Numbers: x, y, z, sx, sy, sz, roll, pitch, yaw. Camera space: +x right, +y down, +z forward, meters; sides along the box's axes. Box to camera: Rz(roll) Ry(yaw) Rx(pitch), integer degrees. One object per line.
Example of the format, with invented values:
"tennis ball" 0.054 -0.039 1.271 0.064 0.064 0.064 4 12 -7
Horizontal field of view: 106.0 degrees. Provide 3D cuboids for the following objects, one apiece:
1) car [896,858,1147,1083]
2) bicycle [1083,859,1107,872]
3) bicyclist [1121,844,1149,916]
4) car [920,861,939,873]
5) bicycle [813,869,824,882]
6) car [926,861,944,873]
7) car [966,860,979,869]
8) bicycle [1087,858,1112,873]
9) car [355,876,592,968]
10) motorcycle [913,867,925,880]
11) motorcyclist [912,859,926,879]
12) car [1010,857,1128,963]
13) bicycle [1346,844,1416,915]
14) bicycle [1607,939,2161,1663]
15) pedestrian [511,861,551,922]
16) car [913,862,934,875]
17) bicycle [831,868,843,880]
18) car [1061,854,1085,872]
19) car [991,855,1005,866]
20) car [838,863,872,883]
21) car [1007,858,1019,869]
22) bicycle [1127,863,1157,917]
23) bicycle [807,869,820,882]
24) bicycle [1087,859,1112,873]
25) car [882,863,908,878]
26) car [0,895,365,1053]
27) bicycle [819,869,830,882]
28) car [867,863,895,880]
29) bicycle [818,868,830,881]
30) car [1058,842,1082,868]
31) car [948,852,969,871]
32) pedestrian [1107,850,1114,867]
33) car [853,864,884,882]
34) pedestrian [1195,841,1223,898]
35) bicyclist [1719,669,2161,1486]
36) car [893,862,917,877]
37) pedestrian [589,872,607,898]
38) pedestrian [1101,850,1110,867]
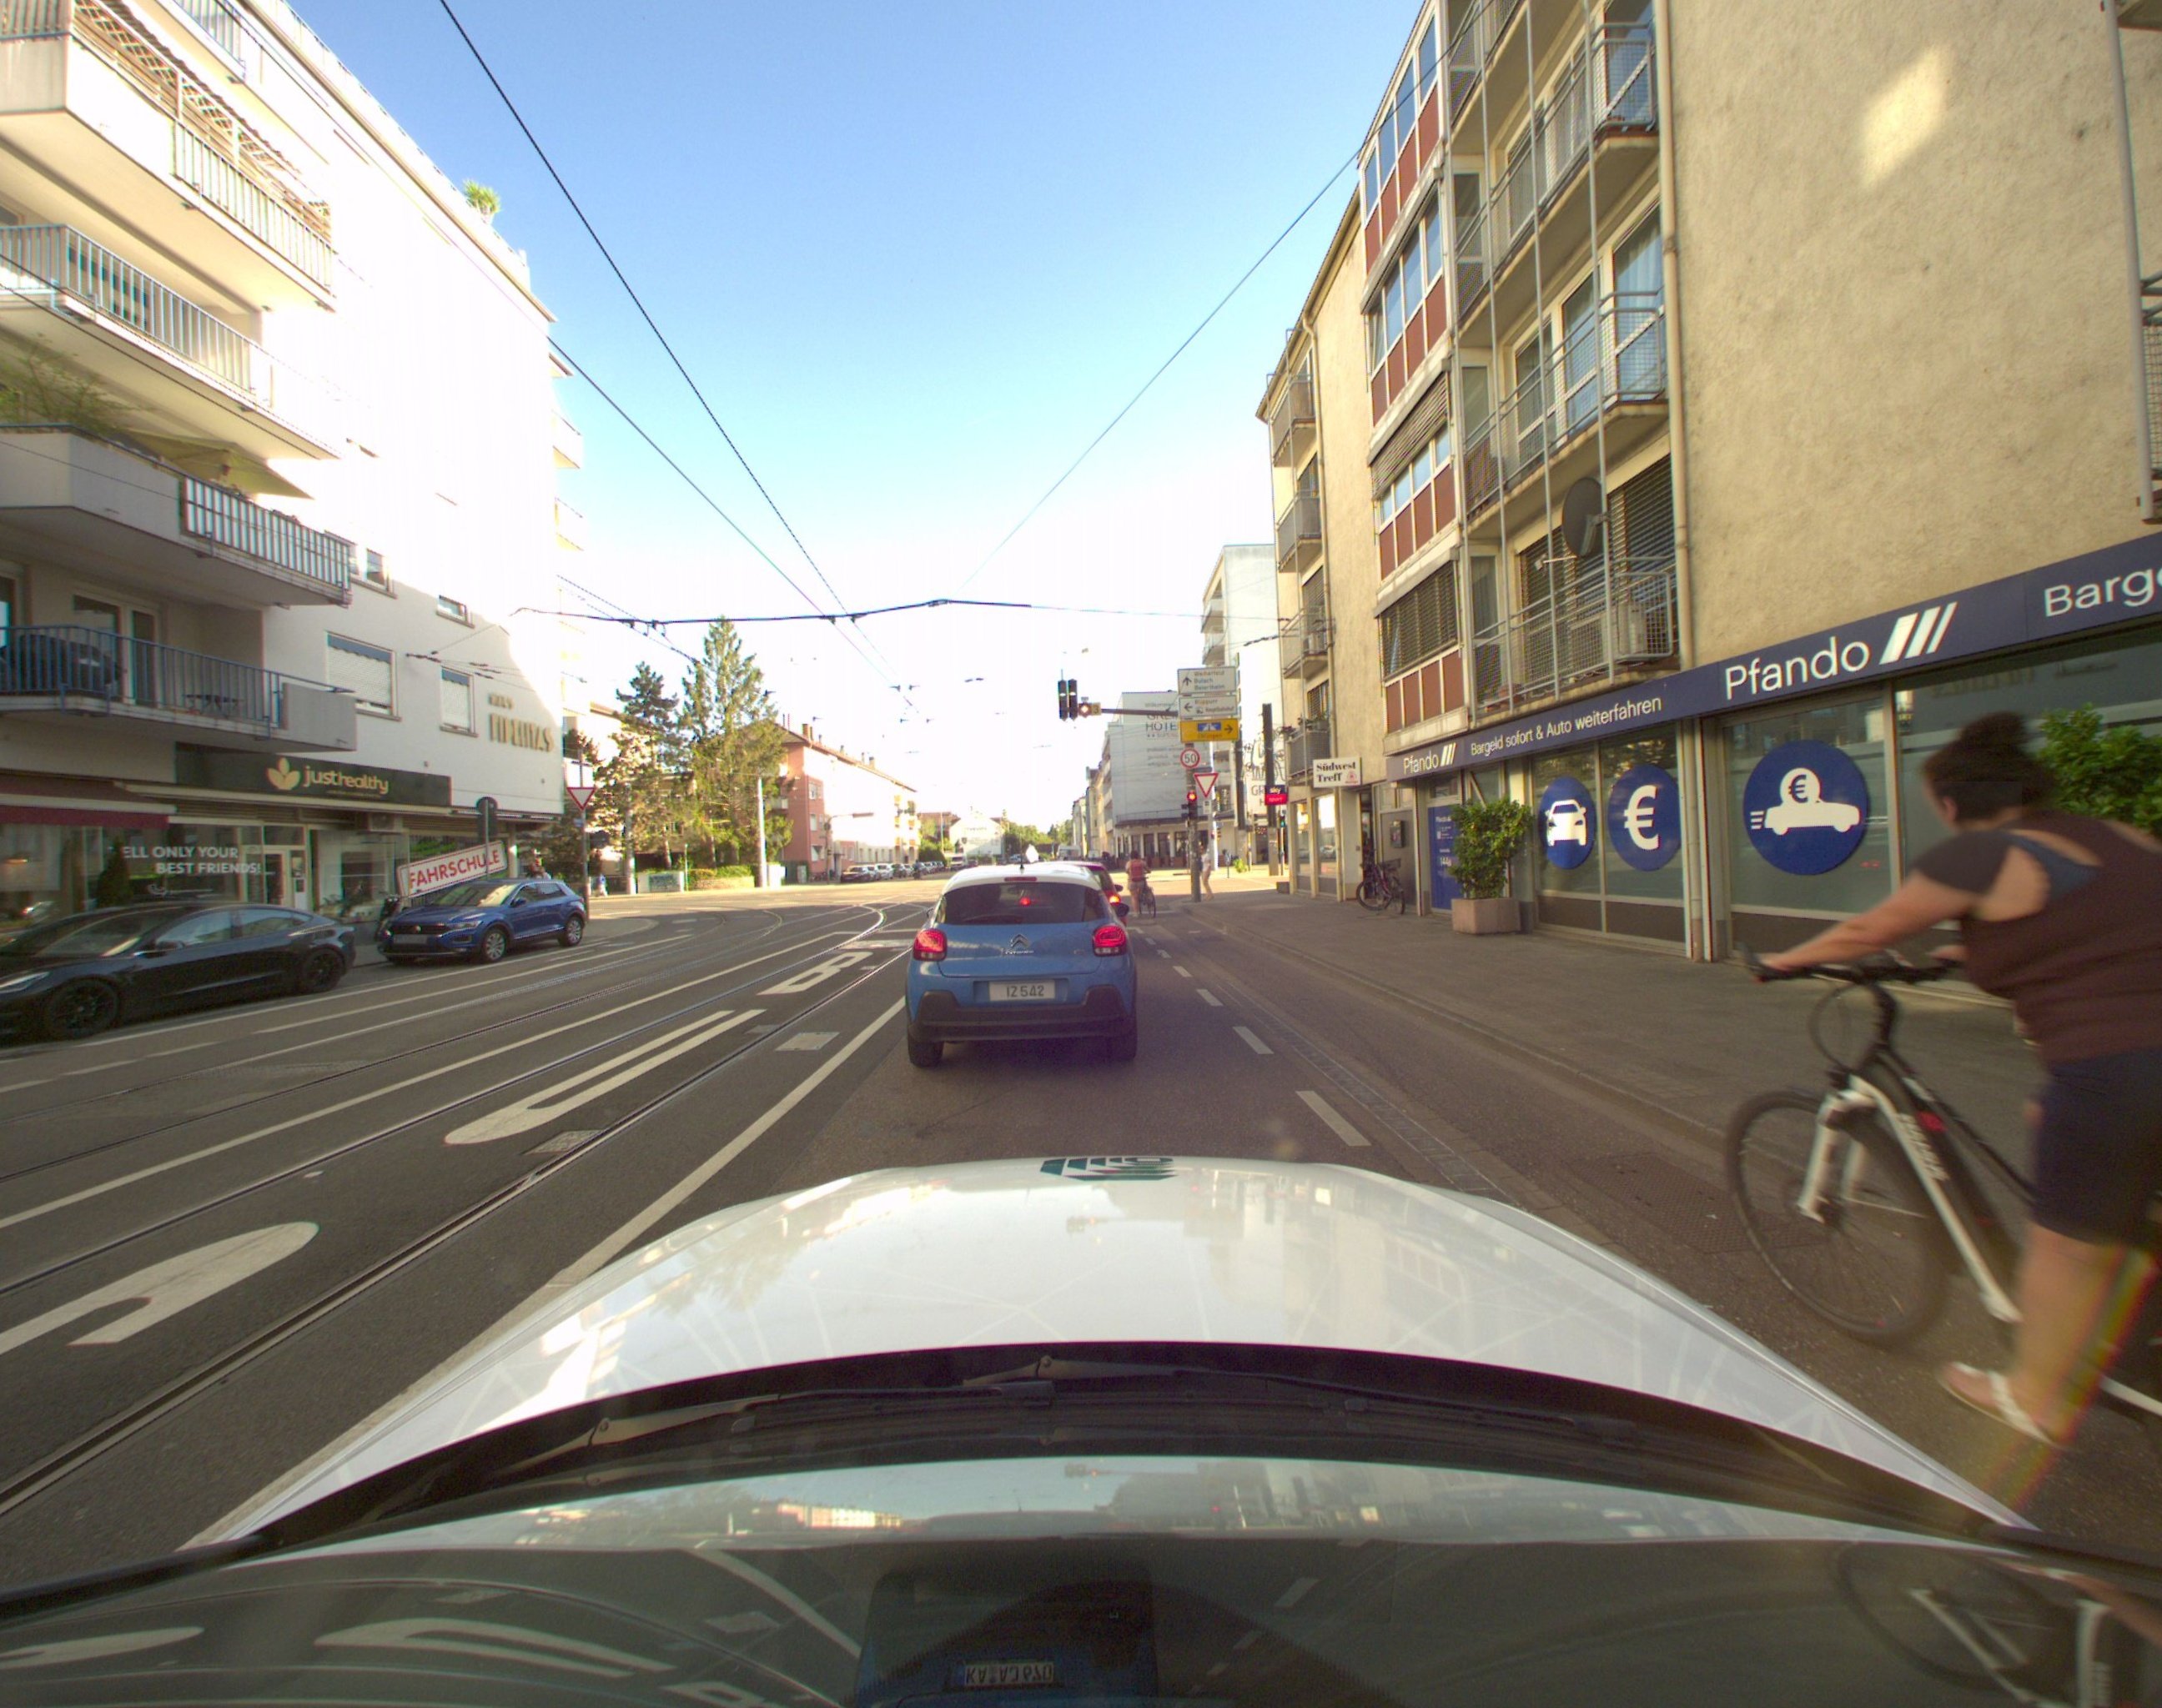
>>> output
"car" -0.448 0.795 7.510 1.675 1.462 3.997 -1 0 -2
"bicycle" 1.161 0.954 68.455 1.901 1.064 0.641 -2 0 -6
"bicyclist" 1.372 0.637 20.704 0.598 1.746 1.084 -2 0 2
"car" -20.299 1.769 109.337 1.947 1.519 3.995 -2 0 -4
"bicycle" -21.973 1.792 68.197 0.537 1.082 1.905 -2 0 -9
"car" -20.727 1.847 115.693 1.947 1.519 3.995 -2 0 -4
"car" -19.341 1.810 145.254 1.947 1.519 3.995 -2 0 -4
"bicycle" 1.517 0.931 65.946 1.901 1.064 0.641 -2 0 -6
"car" -11.875 1.247 16.336 1.720 1.505 4.113 0 0 -2
"motorcycle" -13.483 1.596 67.771 0.751 0.976 2.092 -2 0 -7
"motorcyclist" -13.473 1.269 67.704 0.990 1.631 0.737 -2 0 -7
"car" -0.223 0.814 13.719 1.675 1.462 3.997 -1 0 -2
"bicycle" 5.762 0.461 15.750 0.637 1.264 1.911 -2 0 2
"bicycle" 2.229 0.878 2.029 0.614 1.103 1.887 -2 0 1
"pedestrian" -17.277 1.171 25.585 0.761 1.834 0.725 -2 0 28
"car" -20.098 1.797 104.048 1.947 1.519 3.995 -2 0 -4
"bicycle" -22.716 1.858 75.812 0.608 1.082 1.908 -2 0 -4
"car" -0.715 0.743 67.997 1.783 1.359 3.909 -2 0 -4
"car" -12.898 0.982 126.882 2.002 1.627 5.044 -2 0 -5
"car" -19.290 1.599 69.630 1.947 1.519 3.995 -2 0 -4
"car" -14.271 1.972 171.421 2.333 2.039 5.044 -2 0 -4
"bicycle" 1.536 0.891 20.737 0.611 1.264 1.911 -2 0 2
"bicycle" -22.379 1.792 68.087 0.640 1.082 1.905 -2 0 -9
"bicycle" 1.526 0.962 67.252 1.901 1.064 0.641 -2 0 -6
"car" -19.730 1.737 86.538 1.947 1.519 3.995 -2 0 -4
"car" -11.980 1.334 10.432 1.720 1.403 4.486 0 0 -2
"bicycle" -21.595 1.792 68.482 0.537 1.082 1.905 -2 0 -9
"car" -19.560 1.682 79.865 1.947 1.519 3.995 -2 0 -4
"bicycle" -23.049 1.840 73.116 0.536 1.082 1.908 -2 0 -4
"car" -1.038 0.087 73.458 2.074 2.269 5.647 -1 0 -2
"car" -18.128 1.099 120.585 2.489 2.712 5.828 -2 0 -5
"pedestrian" 2.524 0.381 70.128 0.467 1.420 0.524 -2 0 -11
"car" -19.571 1.716 75.253 1.947 1.519 4.040 -2 0 -4
"pedestrian" 3.842 0.457 24.426 0.747 1.635 0.742 -2 0 7
"bicyclist" 2.212 0.441 2.015 0.614 1.630 0.760 -2 0 1
"car" -19.982 1.787 92.606 1.947 1.519 3.995 -2 0 -4
"pedestrian" -32.936 2.111 55.555 0.810 1.702 0.677 -2 0 -15
"pedestrian" 2.104 0.397 70.390 0.520 1.420 0.550 -3 0 22
